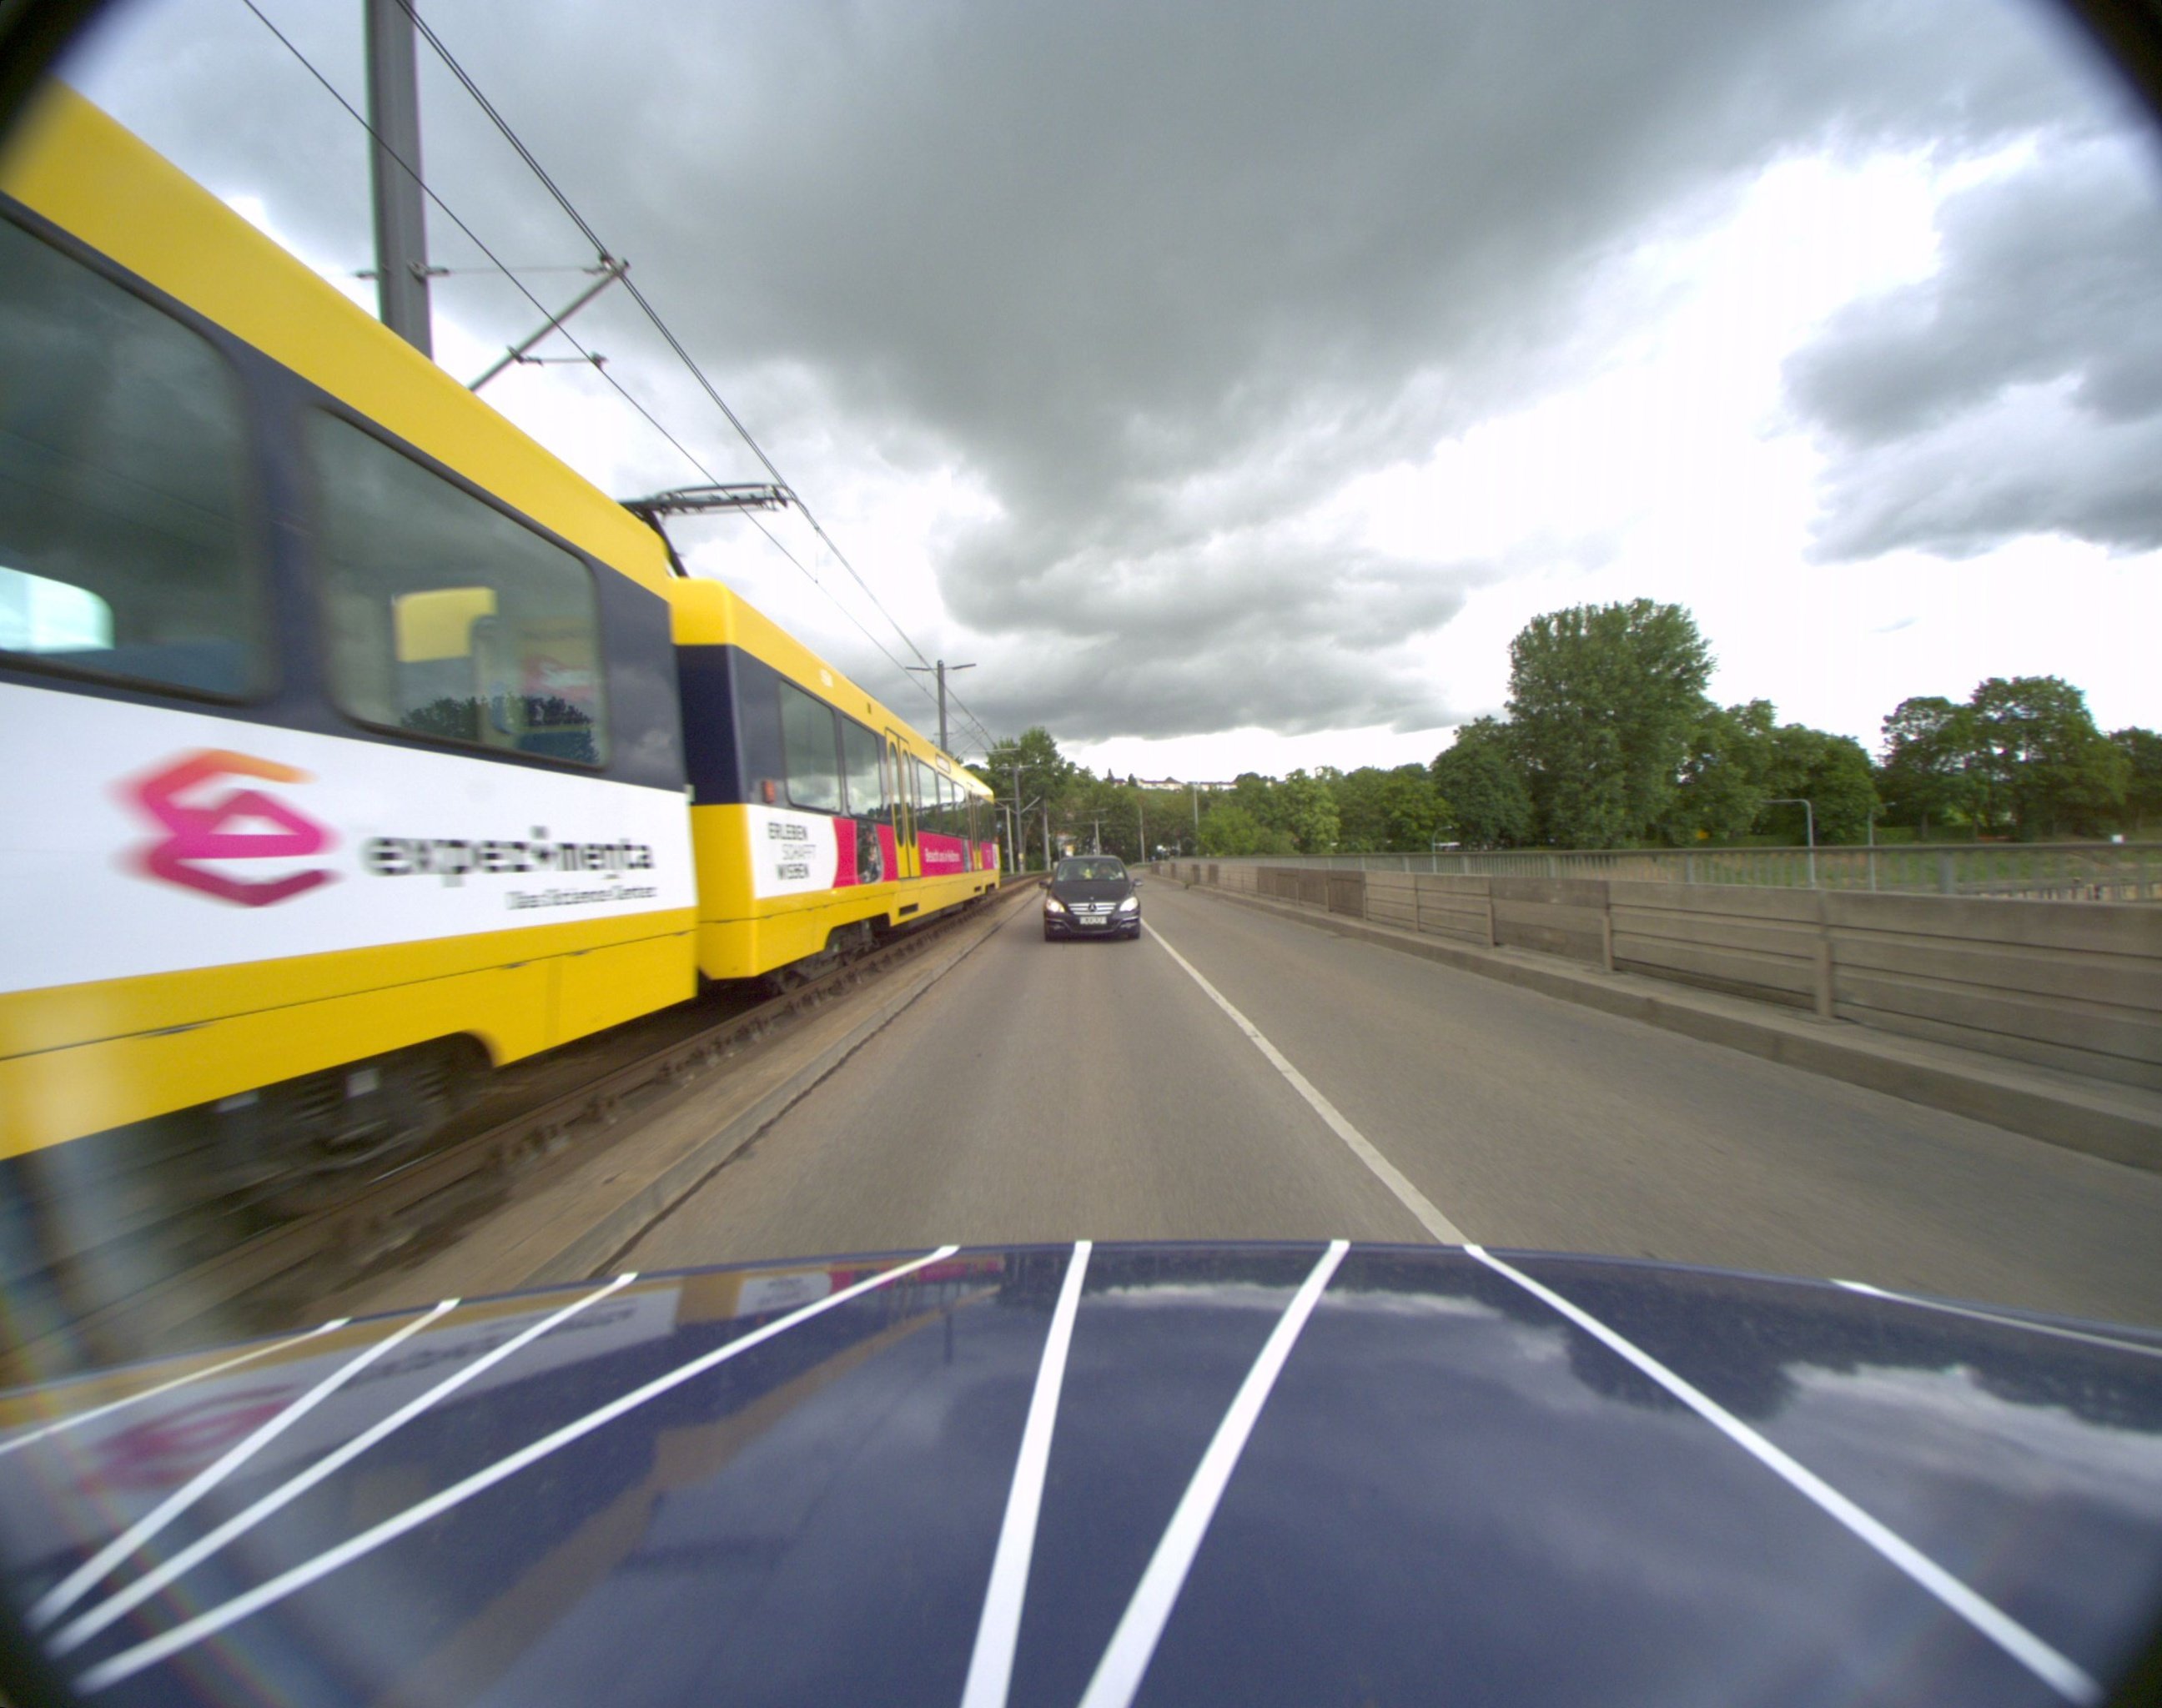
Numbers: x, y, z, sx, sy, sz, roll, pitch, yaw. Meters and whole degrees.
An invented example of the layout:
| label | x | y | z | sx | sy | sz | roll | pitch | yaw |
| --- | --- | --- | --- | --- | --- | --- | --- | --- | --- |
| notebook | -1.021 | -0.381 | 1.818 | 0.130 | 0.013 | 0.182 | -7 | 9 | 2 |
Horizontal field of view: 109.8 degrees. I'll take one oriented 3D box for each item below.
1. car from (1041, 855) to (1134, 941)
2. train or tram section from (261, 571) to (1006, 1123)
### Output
| label | x | y | z | sx | sy | sz | roll | pitch | yaw |
| --- | --- | --- | --- | --- | --- | --- | --- | --- | --- |
| car | 0.117 | 0.836 | 16.567 | 1.711 | 1.573 | 4.442 | -1 | 0 | 0 |
| train or tram section | -3.764 | -0.067 | 14.185 | 2.890 | 3.489 | 18.664 | -1 | 0 | 0 |
